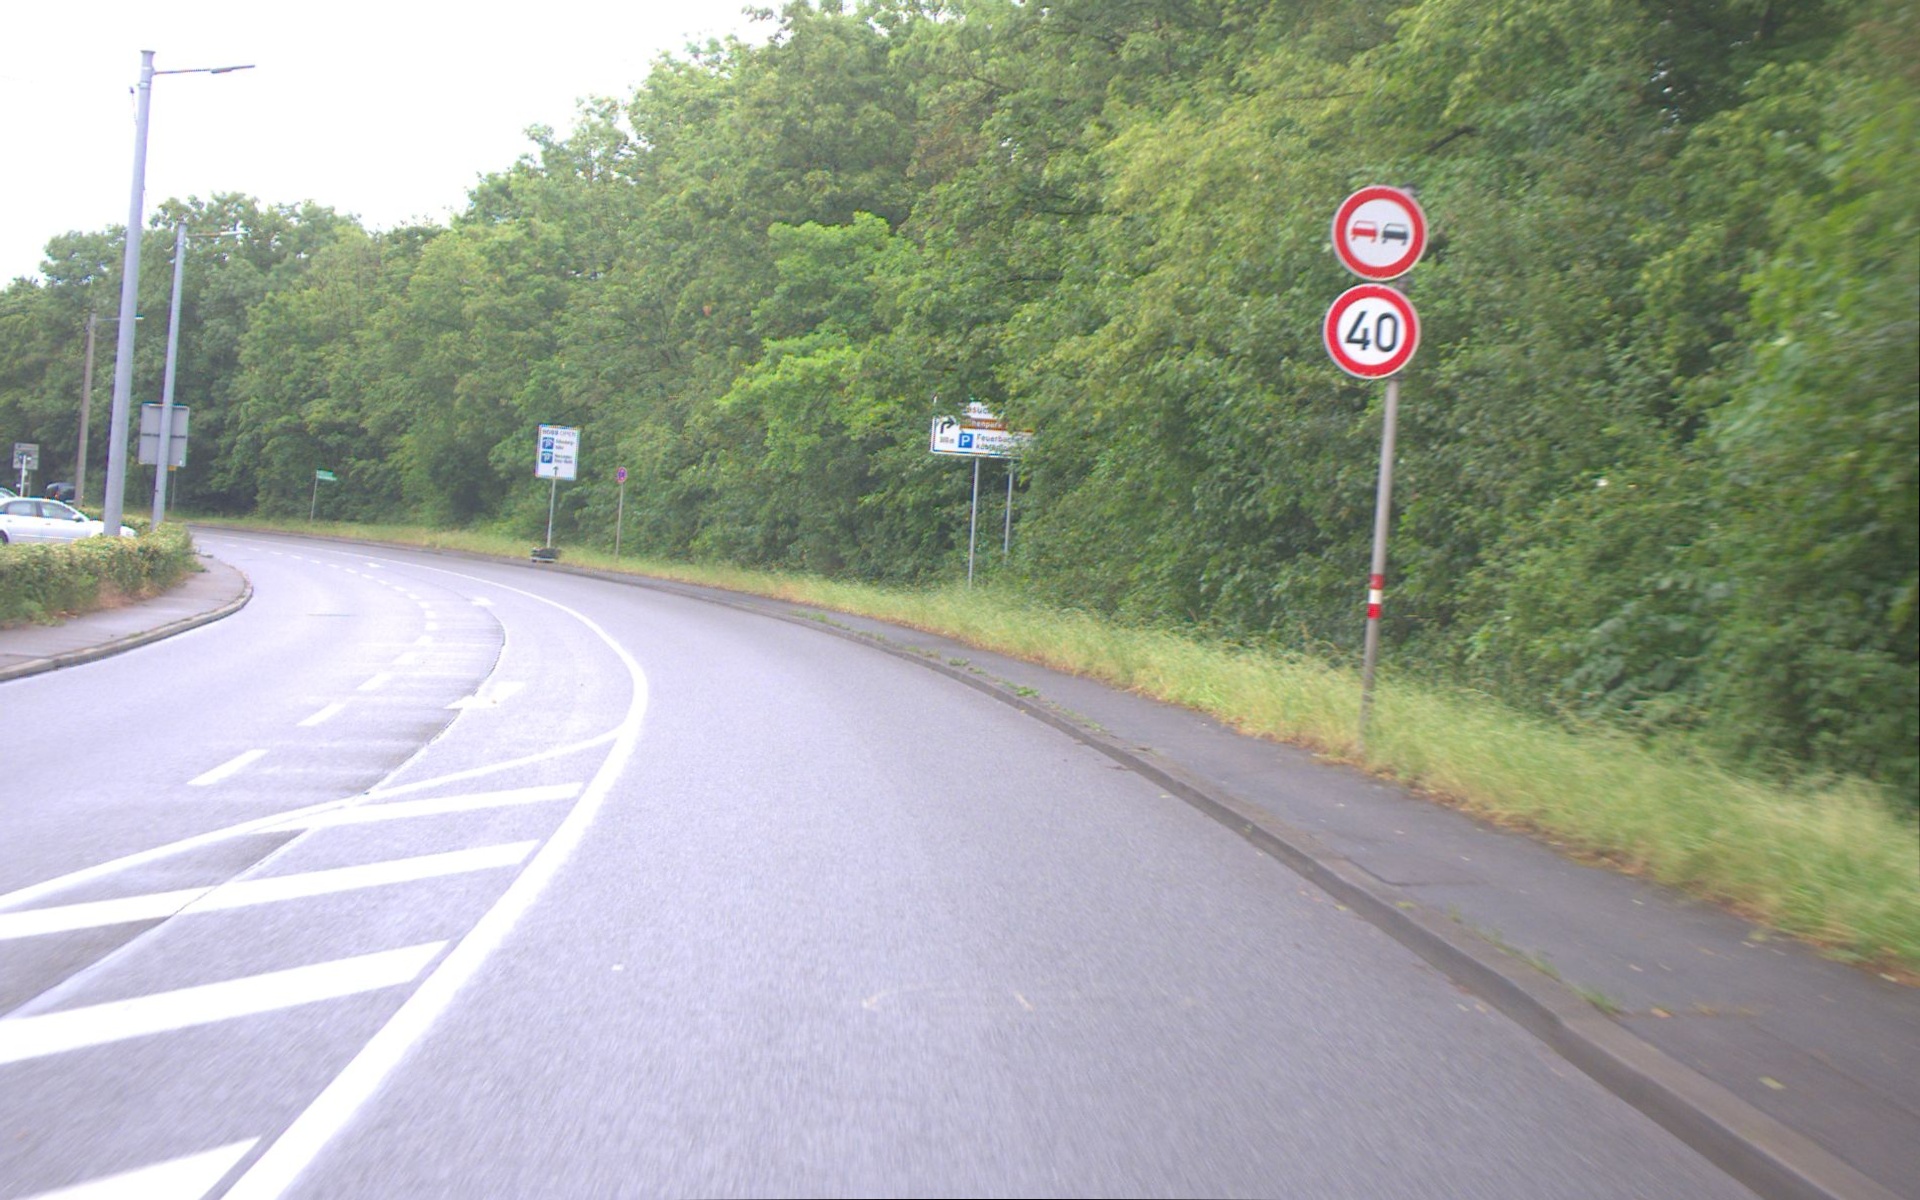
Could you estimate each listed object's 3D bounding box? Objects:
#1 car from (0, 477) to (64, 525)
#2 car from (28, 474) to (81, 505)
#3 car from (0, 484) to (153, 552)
[{"bbox_3d":[-35.711,-3.745,128.270,4.289,1.702,2.001,2,1,-16],"label":"car"},{"bbox_3d":[-47.954,-5.872,182.043,1.934,1.493,4.319,2,2,-25],"label":"car"},{"bbox_3d":[-22.182,-2.034,83.931,4.573,1.501,2.001,2,1,-19],"label":"car"}]
